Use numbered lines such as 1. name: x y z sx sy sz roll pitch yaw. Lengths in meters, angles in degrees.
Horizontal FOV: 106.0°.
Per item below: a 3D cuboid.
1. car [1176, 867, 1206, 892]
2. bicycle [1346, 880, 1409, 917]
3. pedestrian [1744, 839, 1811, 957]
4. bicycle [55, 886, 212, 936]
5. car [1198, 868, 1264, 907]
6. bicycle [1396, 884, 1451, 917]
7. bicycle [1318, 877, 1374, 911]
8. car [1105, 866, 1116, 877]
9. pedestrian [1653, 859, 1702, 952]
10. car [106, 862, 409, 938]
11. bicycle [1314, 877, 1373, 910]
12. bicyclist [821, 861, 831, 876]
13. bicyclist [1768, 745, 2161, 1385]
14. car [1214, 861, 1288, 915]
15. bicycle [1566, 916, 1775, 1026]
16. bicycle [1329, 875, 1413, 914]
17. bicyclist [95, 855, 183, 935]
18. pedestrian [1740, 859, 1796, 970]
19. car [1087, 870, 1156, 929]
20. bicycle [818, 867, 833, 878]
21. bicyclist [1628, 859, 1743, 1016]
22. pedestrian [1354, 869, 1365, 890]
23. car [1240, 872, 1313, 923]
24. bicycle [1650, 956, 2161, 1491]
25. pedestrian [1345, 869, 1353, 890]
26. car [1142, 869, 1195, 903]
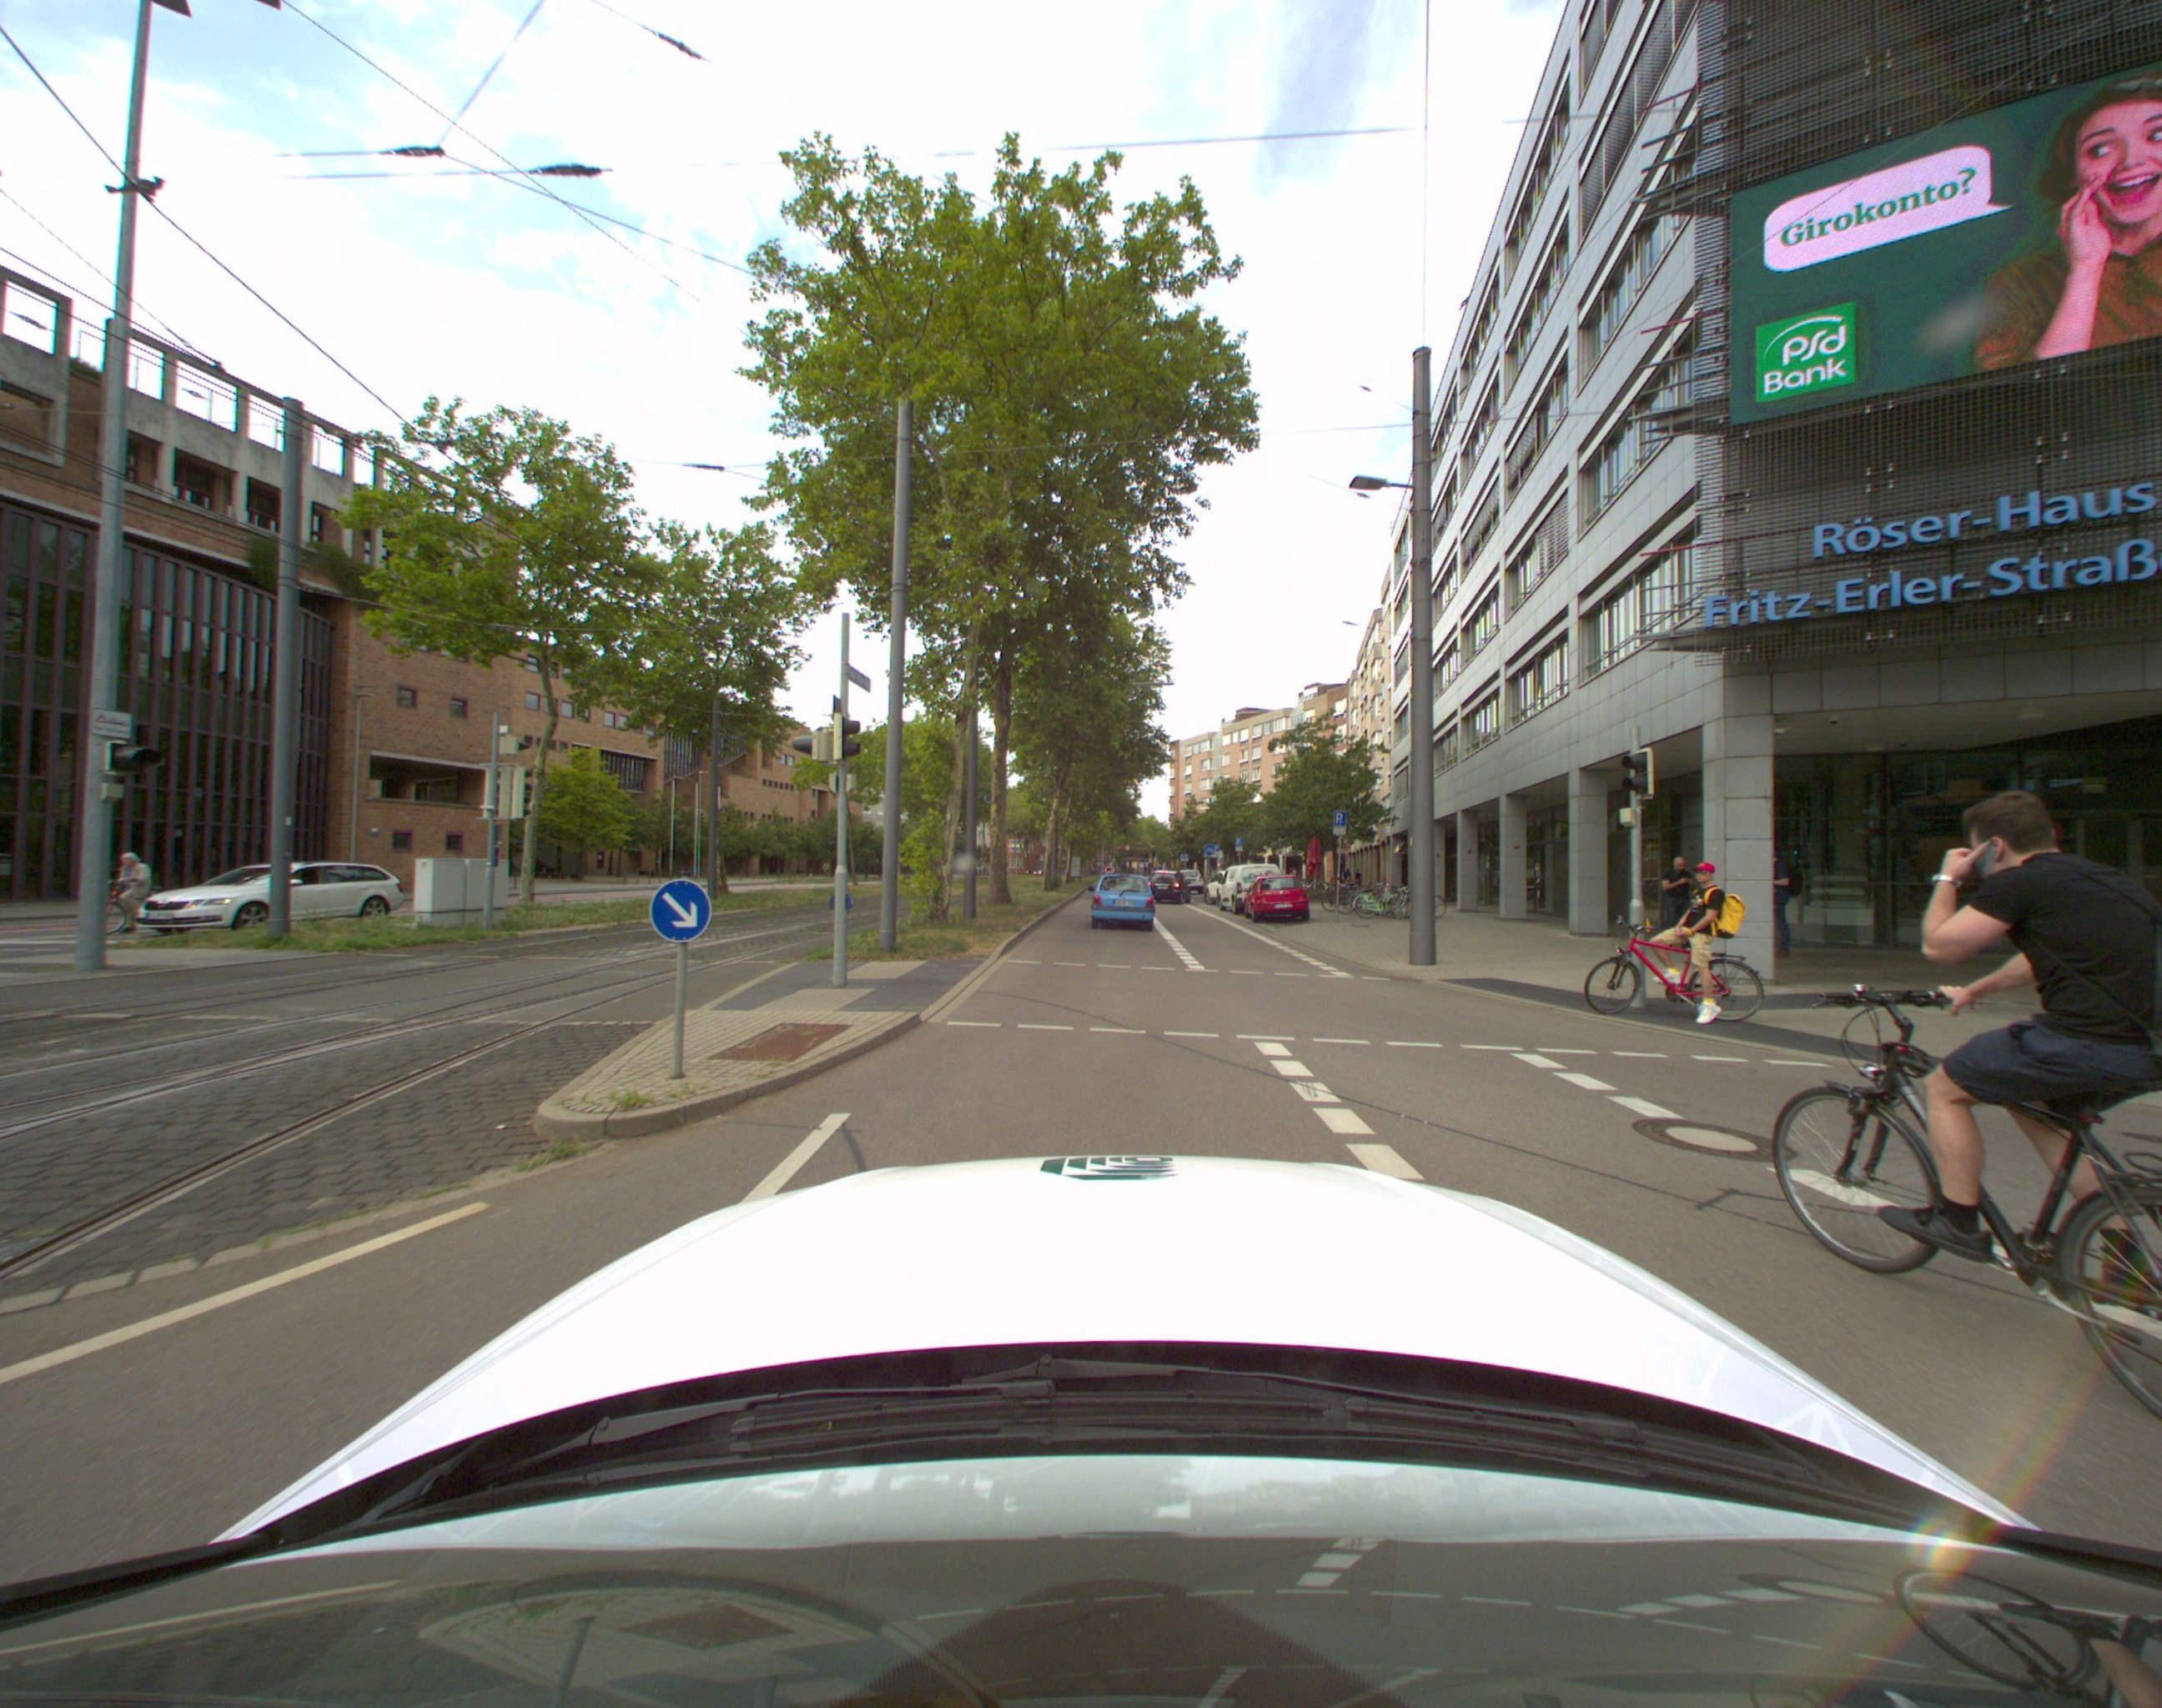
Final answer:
1. car: 7.355 1.691 54.764 1.852 1.653 4.169 0 -1 5
2. bicycle: 9.304 1.376 25.575 1.846 1.139 0.492 0 -1 -5
3. pedestrian: 12.199 0.750 14.281 0.598 2.013 0.677 0 1 8
4. bicycle: -19.581 1.159 16.918 0.727 0.917 2.124 1 -1 1
5. car: 6.858 1.500 37.782 1.990 1.603 4.578 -2 -1 -3
6. bicycle: 10.558 1.424 25.122 1.554 0.987 0.422 0 -1 -3
7. bicycle: 9.712 1.455 29.850 1.897 1.198 0.481 0 -1 9
8. car: 5.597 3.309 153.585 1.924 1.926 4.958 1 -1 2
9. pedestrian: 11.330 0.953 15.488 0.542 1.726 0.646 0 0 13
10. car: -17.547 0.921 17.782 1.777 1.421 4.658 1 -1 1
11. bicycle: 9.775 1.469 30.383 2.043 1.198 0.481 0 -1 9
12. bicyclist: -26.814 1.537 85.531 0.661 1.591 0.985 1 -1 5
13. bicyclist: 3.070 0.587 2.777 0.587 1.768 1.035 0 -1 2
14. car: 6.356 1.223 30.967 1.821 1.864 4.646 -1 -1 0
15. bicycle: 6.915 1.346 9.674 1.883 1.139 0.730 0 -1 20
16. bicycle: 9.957 1.379 28.014 2.622 1.258 0.655 1 -1 2
17. bicyclist: -19.584 0.829 16.948 0.720 1.609 0.901 1 -1 1
18. pedestrian: 11.031 0.954 13.091 0.490 1.726 0.558 0 0 13
19. car: 1.094 1.149 21.762 1.634 1.386 3.845 2 -1 3
20. bicycle: -26.815 1.908 85.539 0.665 1.084 2.096 1 -1 5
21. bicyclist: 7.105 0.940 9.614 0.905 1.764 0.723 0 -1 19
22. pedestrian: 20.931 1.931 61.206 0.705 1.555 0.802 0 -1 15
23. car: 6.147 1.336 26.054 1.713 1.433 4.260 -2 -1 6
24. bicycle: 3.075 1.059 2.985 0.592 1.139 2.092 0 -1 3
25. pedestrian: 20.222 1.933 61.429 0.508 1.555 0.475 0 -1 15
26. car: 4.443 1.581 40.745 1.760 1.577 4.324 -1 -1 18
